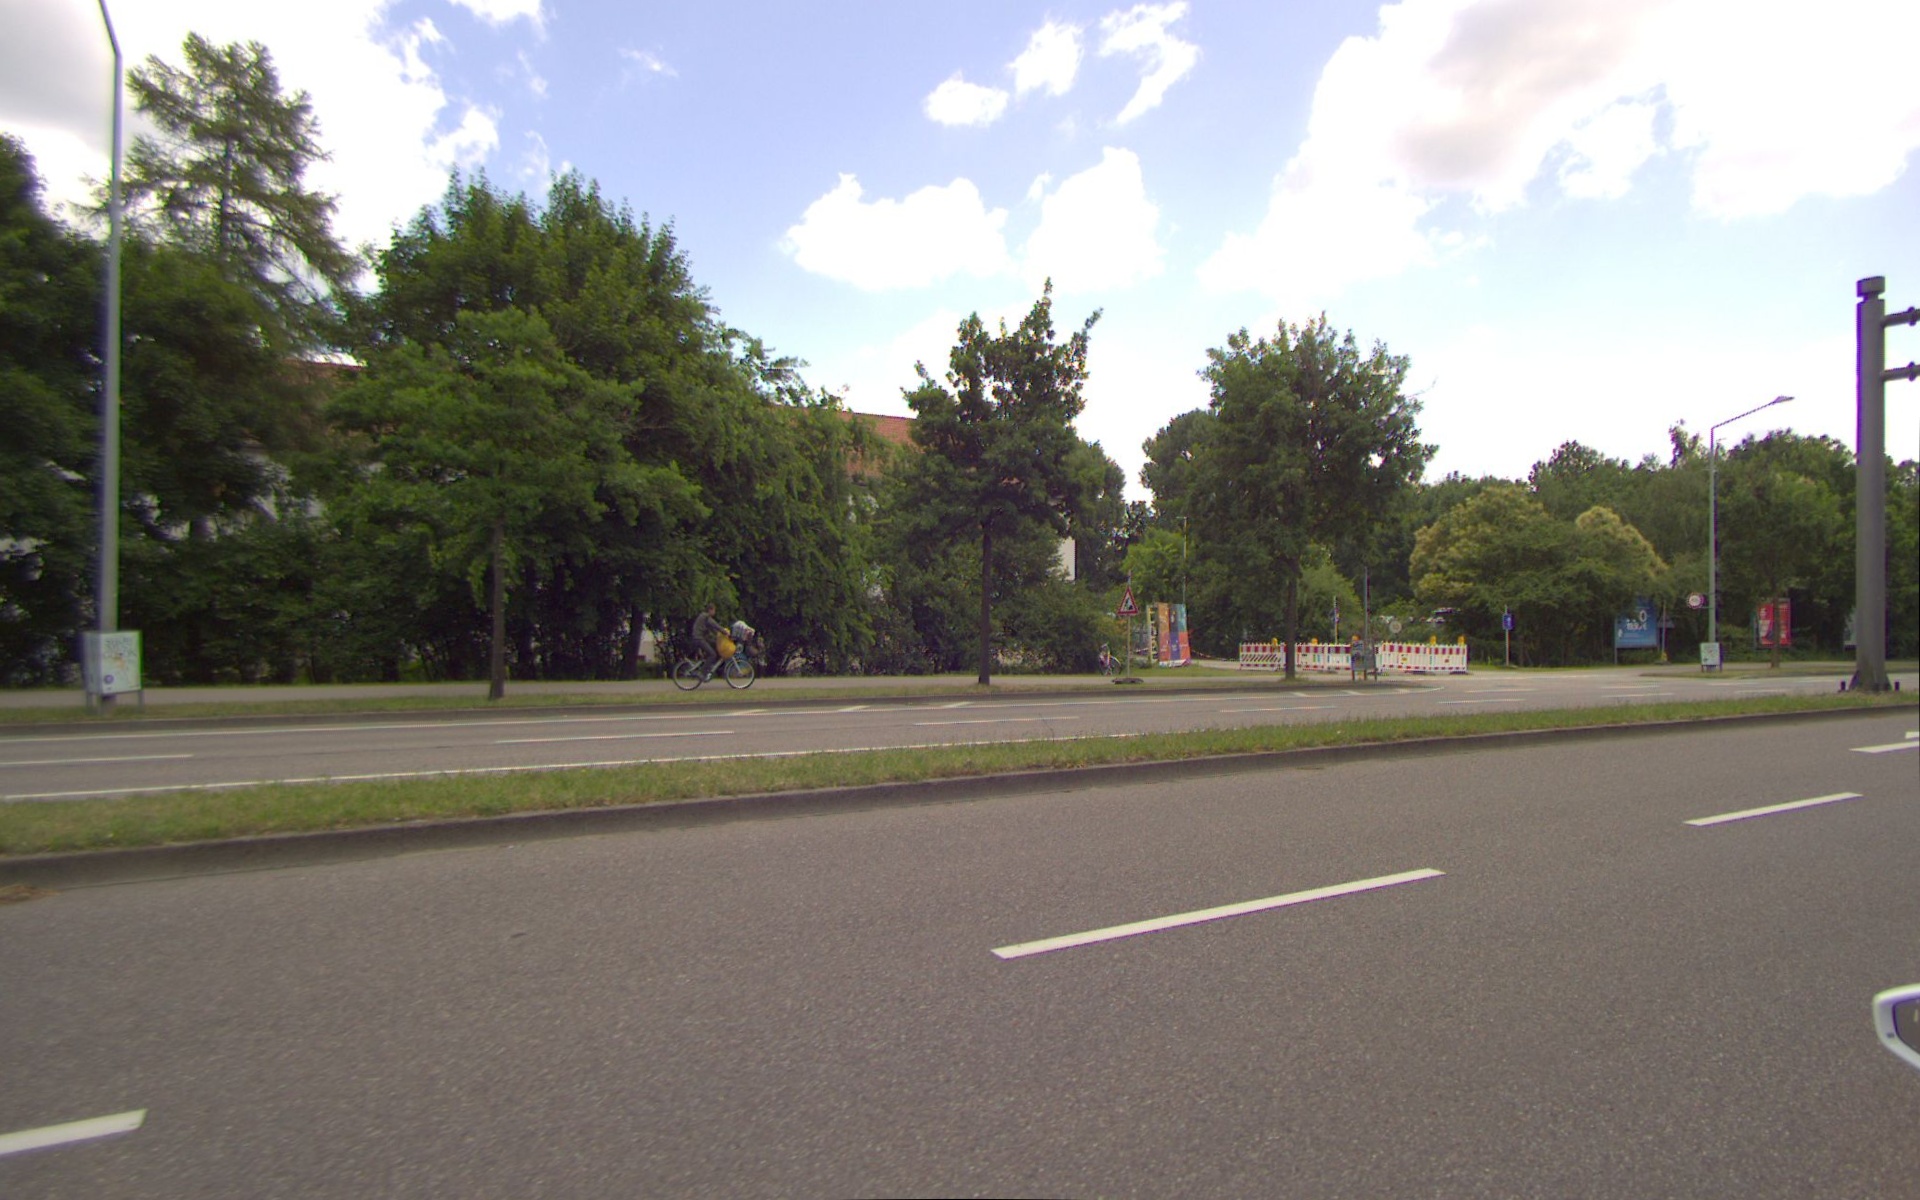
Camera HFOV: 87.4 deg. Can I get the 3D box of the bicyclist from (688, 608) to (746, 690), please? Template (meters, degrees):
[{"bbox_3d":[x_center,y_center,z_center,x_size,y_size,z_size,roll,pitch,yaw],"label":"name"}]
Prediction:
[{"bbox_3d":[-5.121,1.011,21.166,0.971,1.680,0.733,1,-1,-35],"label":"bicyclist"}]

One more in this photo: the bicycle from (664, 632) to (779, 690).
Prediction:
[{"bbox_3d":[-5.021,1.265,21.230,2.235,1.177,0.745,1,-2,-35],"label":"bicycle"}]

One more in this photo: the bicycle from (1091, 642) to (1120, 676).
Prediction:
[{"bbox_3d":[4.606,1.830,31.641,0.651,1.028,2.151,0,-2,15],"label":"bicycle"}]
